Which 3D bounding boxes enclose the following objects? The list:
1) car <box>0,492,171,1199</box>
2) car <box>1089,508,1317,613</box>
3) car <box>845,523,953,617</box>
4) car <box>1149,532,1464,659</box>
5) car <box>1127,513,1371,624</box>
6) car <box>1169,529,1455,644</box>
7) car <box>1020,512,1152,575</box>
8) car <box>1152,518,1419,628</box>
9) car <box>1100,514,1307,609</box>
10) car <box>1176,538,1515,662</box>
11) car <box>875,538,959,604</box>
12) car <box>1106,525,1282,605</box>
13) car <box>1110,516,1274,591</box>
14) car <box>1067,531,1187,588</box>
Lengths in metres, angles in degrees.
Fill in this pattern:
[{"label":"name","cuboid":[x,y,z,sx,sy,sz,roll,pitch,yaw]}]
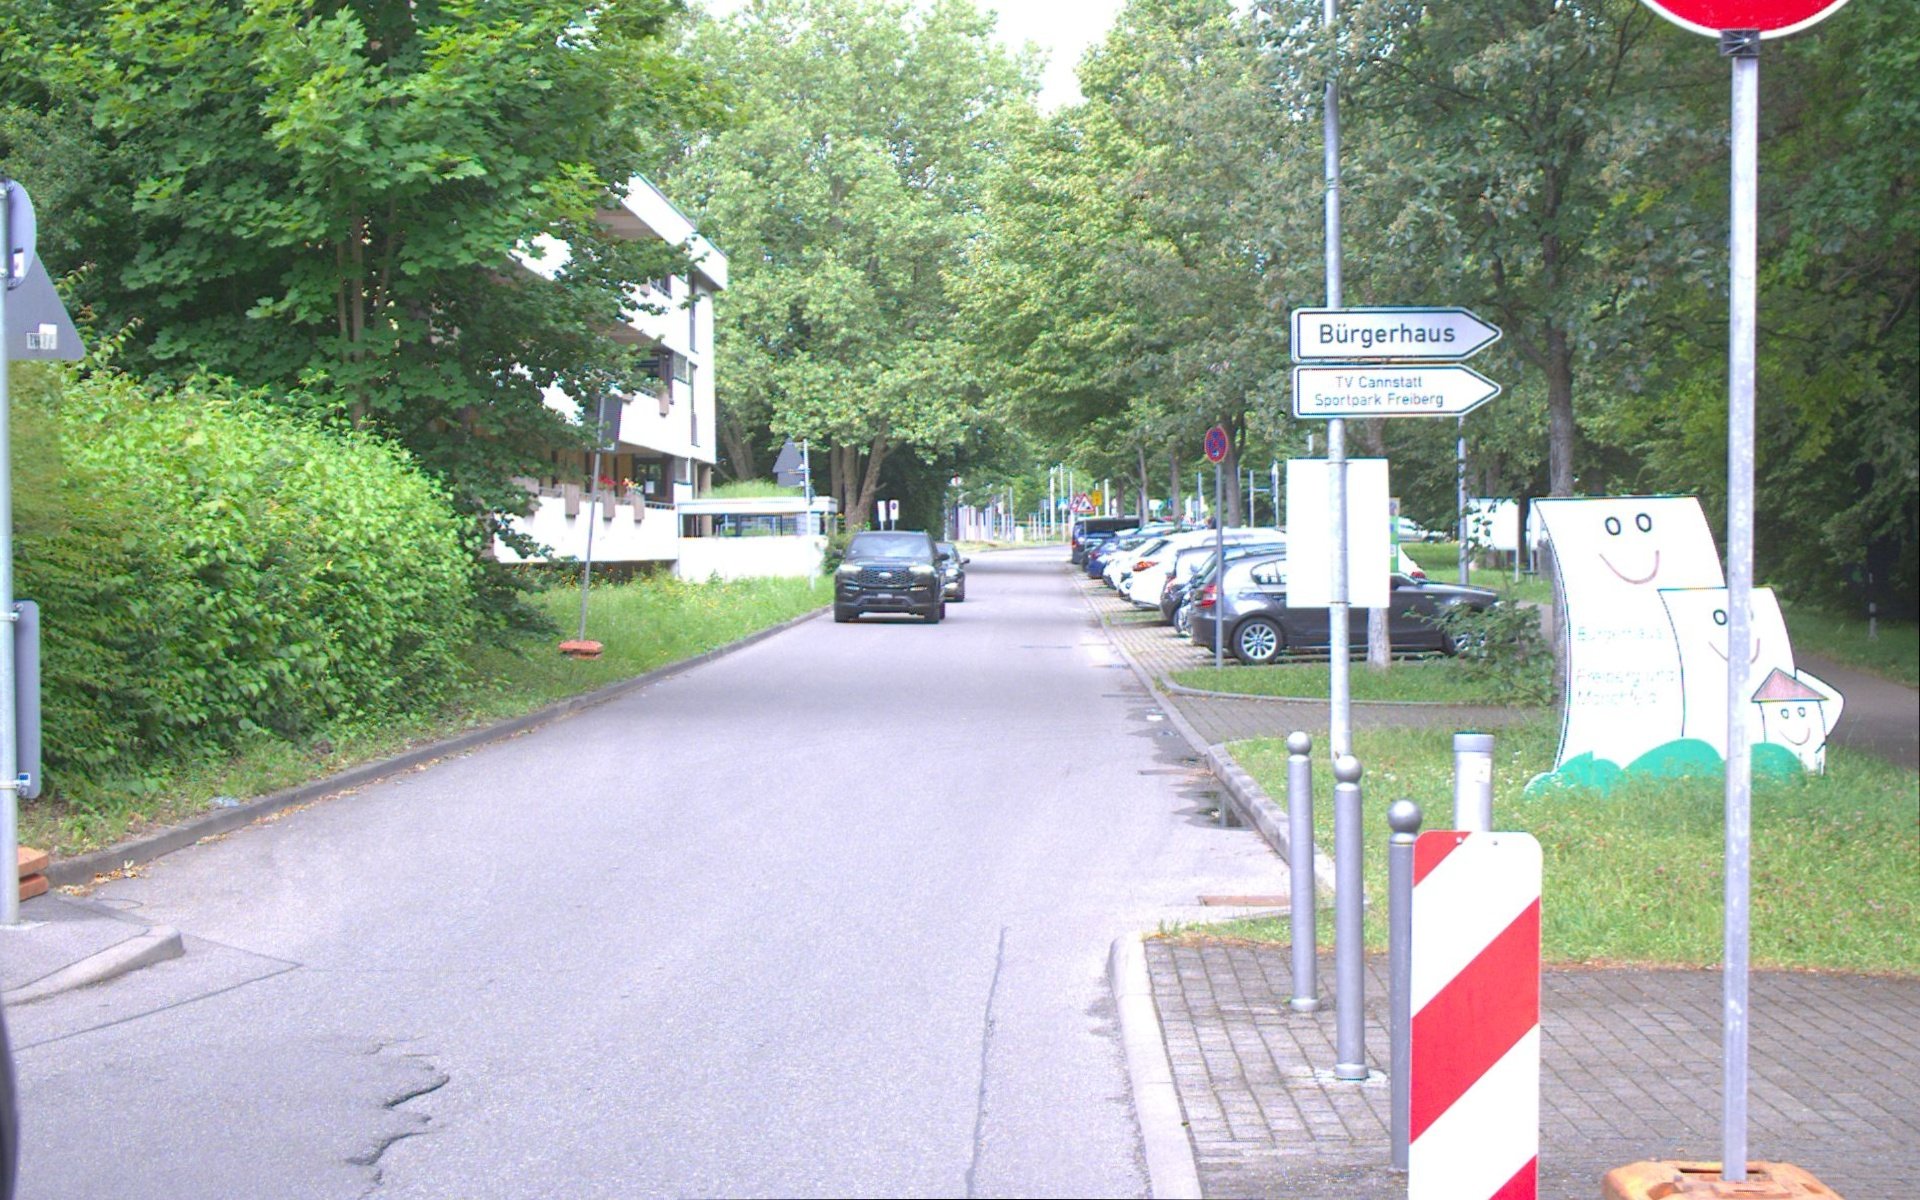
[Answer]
[{"label":"car","cuboid":[-2.649,0.638,4.448,1.803,1.586,4.295,0,1,7]},{"label":"car","cuboid":[4.589,-0.755,65.325,4.063,1.681,1.823,-4,1,-2]},{"label":"car","cuboid":[-1.133,-0.586,65.928,1.968,1.741,4.338,0,1,0]},{"label":"car","cuboid":[4.651,-0.053,46.629,4.063,1.563,1.822,-2,-1,1]},{"label":"car","cuboid":[5.145,-0.566,61.579,4.063,1.681,1.823,-4,1,-2]},{"label":"car","cuboid":[5.218,-0.213,51.386,4.063,1.563,1.822,-2,1,1]},{"label":"car","cuboid":[4.085,-1.848,111.753,4.063,1.764,1.823,-4,1,-2]},{"label":"car","cuboid":[5.299,-0.451,56.299,4.063,1.483,1.823,-4,1,-2]},{"label":"car","cuboid":[5.073,-0.815,72.079,4.063,1.681,1.823,-4,1,-2]},{"label":"car","cuboid":[4.864,0.011,43.810,4.063,1.429,2.000,-2,-1,1]},{"label":"car","cuboid":[-1.014,-0.720,83.157,1.968,1.570,4.338,0,1,0]},{"label":"car","cuboid":[5.771,-0.884,85.084,4.063,1.681,1.823,-4,1,-2]},{"label":"car","cuboid":[6.115,-1.239,90.844,4.063,1.681,1.823,-4,1,-2]},{"label":"car","cuboid":[6.028,-1.474,124.386,4.063,1.764,1.823,-4,1,-2]}]
